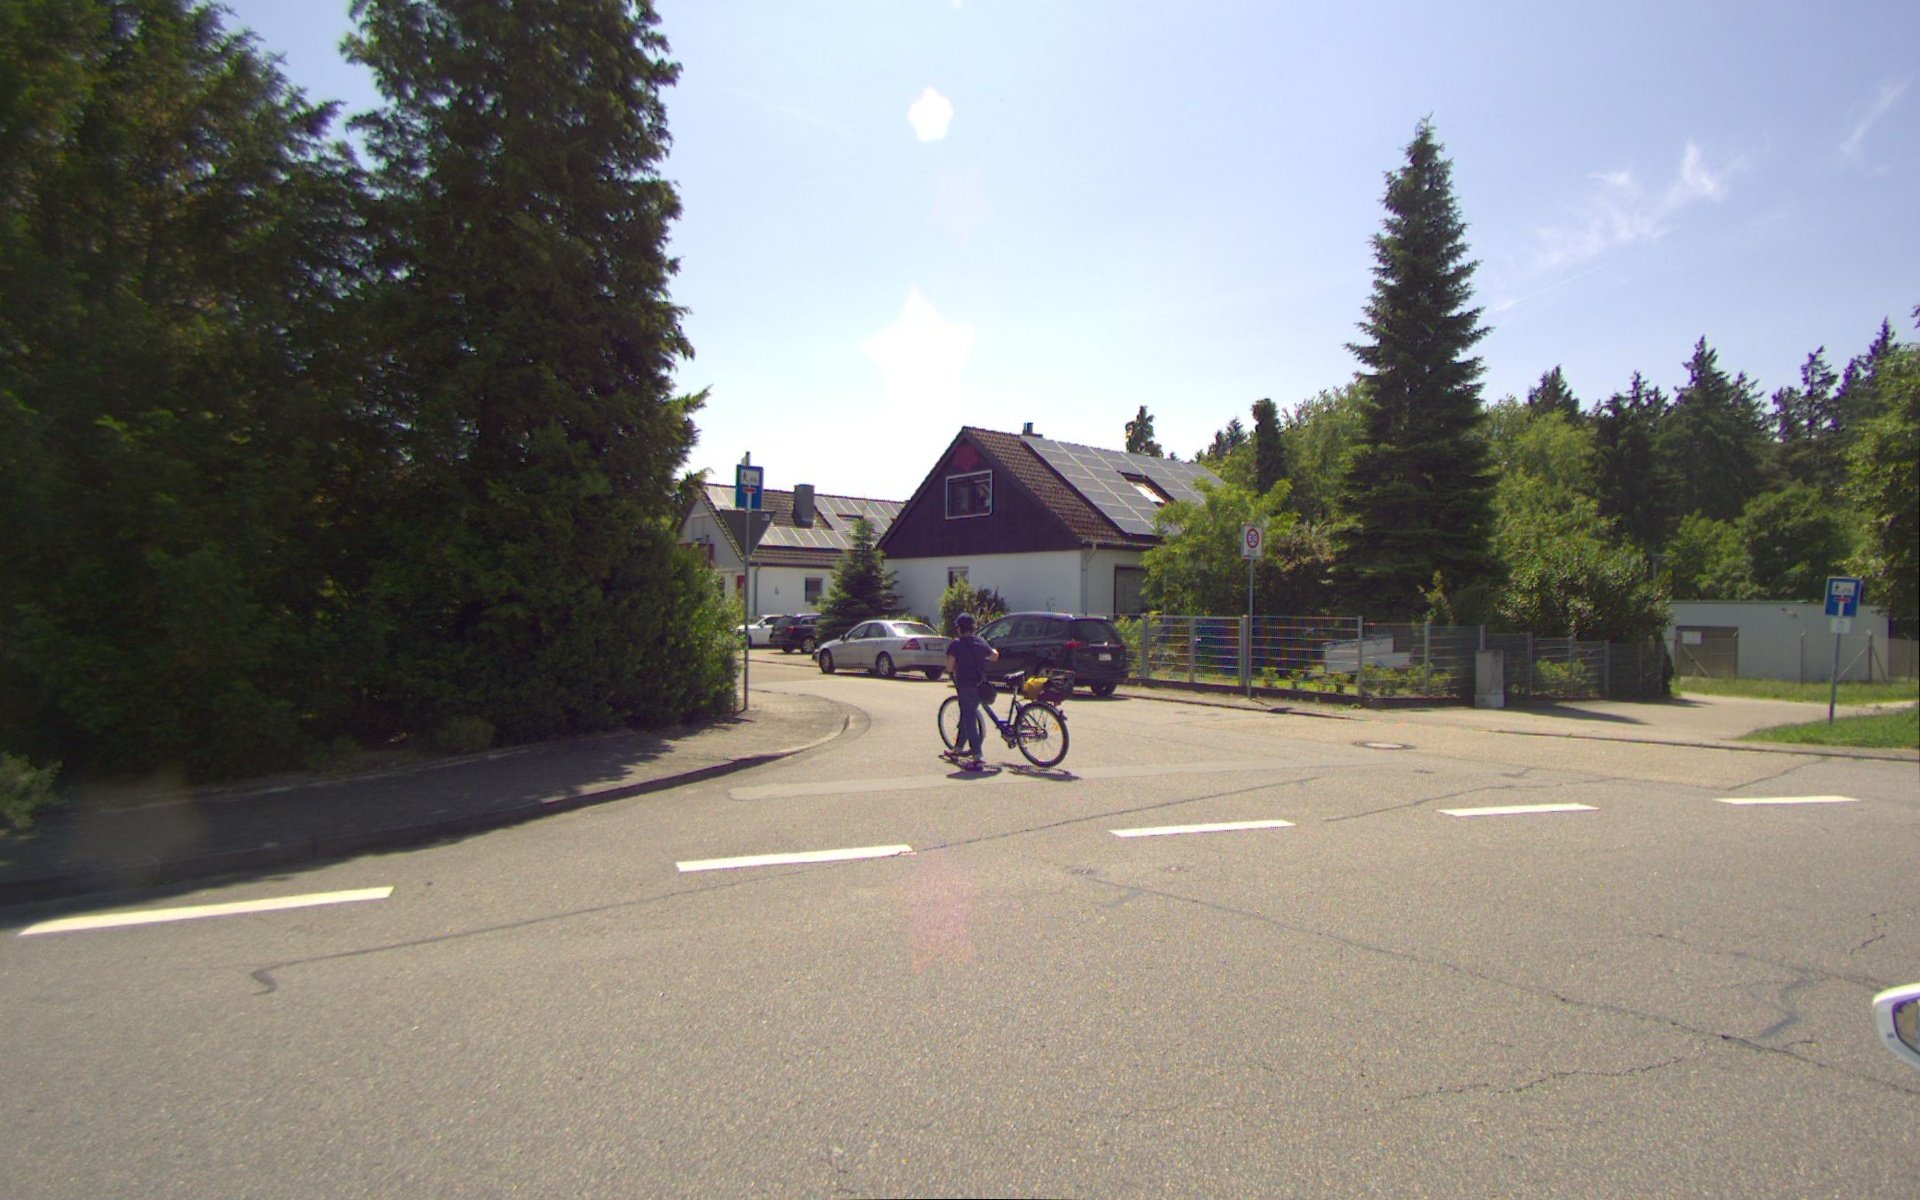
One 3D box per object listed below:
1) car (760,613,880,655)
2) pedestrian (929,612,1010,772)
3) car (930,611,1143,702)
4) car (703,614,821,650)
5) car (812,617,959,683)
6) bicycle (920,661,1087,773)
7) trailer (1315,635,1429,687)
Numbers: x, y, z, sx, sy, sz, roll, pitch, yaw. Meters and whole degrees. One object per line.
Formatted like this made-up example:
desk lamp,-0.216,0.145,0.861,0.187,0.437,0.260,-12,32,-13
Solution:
car,-5.421,1.307,39.077,4.219,1.506,1.977,1,-1,-40
pedestrian,0.095,0.890,10.024,0.602,1.521,0.502,1,0,39
car,1.508,1.105,21.490,1.952,1.684,4.631,1,-1,-38
car,-8.352,1.342,42.528,4.511,1.415,1.931,2,-1,-38
car,-1.994,1.218,25.787,1.677,1.479,4.289,1,-1,-38
bicycle,0.414,1.162,10.369,1.820,0.976,0.441,0,0,40
trailer,9.560,1.389,23.356,2.191,1.098,1.100,0,-1,43
